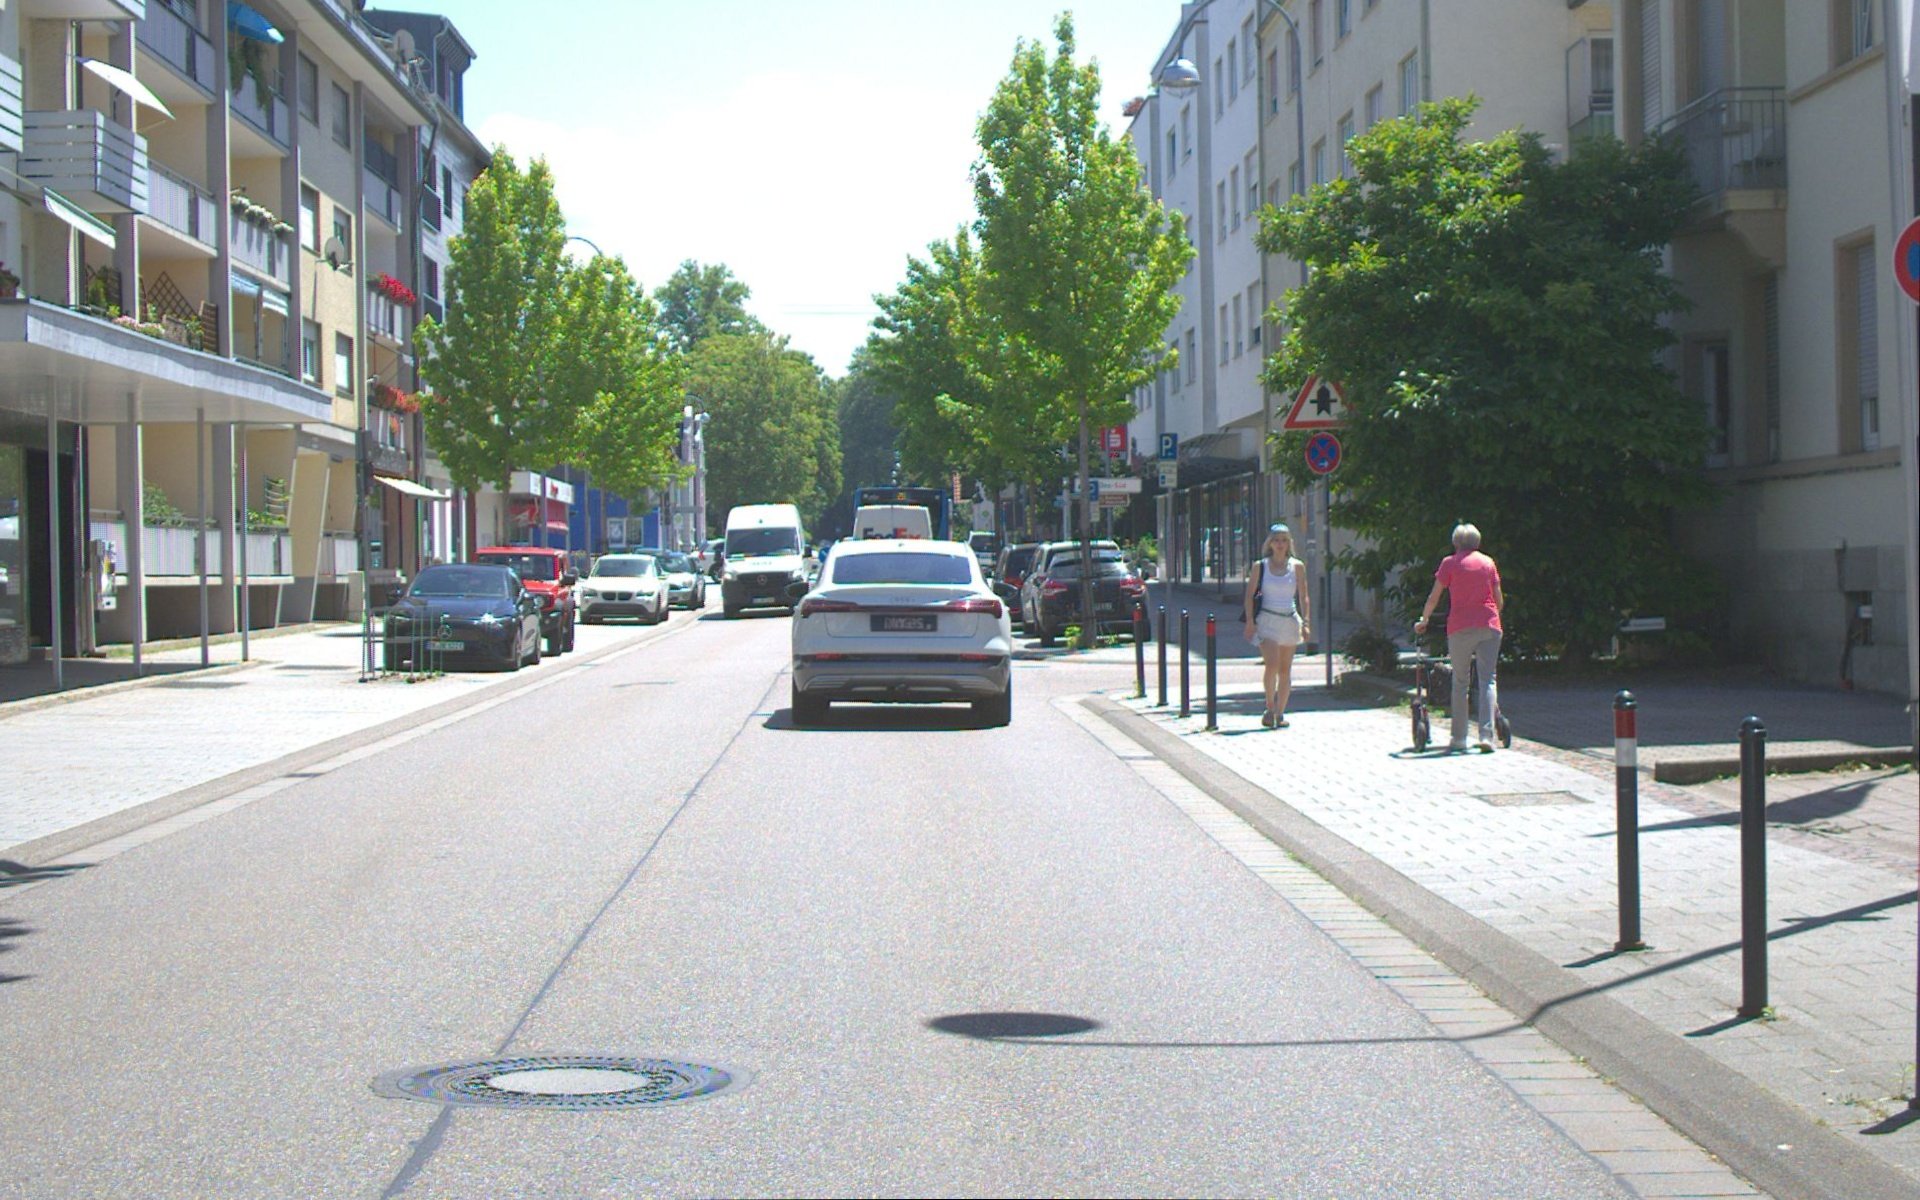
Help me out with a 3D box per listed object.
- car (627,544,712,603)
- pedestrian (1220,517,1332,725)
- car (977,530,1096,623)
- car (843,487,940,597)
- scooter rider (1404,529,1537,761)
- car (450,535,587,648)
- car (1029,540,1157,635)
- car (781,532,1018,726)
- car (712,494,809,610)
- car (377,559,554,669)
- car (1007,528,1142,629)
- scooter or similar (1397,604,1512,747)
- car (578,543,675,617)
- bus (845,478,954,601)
[{"bbox_3d":[-7.494,-0.705,88.960,1.752,1.448,4.401,1,1,1],"label":"car"},{"bbox_3d":[2.555,0.164,27.863,0.700,1.621,0.784,-4,0,-2],"label":"pedestrian"},{"bbox_3d":[1.458,-0.478,67.112,1.855,1.669,4.538,-3,1,-4],"label":"car"},{"bbox_3d":[-1.586,-1.341,80.152,2.156,2.433,5.284,1,1,-1],"label":"car"},{"bbox_3d":[3.515,0.298,23.698,0.716,1.543,0.770,-2,1,-3],"label":"scooter rider"},{"bbox_3d":[-6.998,-0.163,54.786,1.752,1.696,4.102,1,1,-2],"label":"car"},{"bbox_3d":[2.116,-0.226,55.636,1.896,1.433,4.544,-1,1,0],"label":"car"},{"bbox_3d":[-0.597,0.216,31.071,1.993,1.627,4.001,0,1,-2],"label":"car"},{"bbox_3d":[-4.813,-1.188,83.775,2.036,2.621,7.108,-3,1,-2],"label":"car"},{"bbox_3d":[-6.884,0.160,48.316,1.896,1.412,5.048,1,1,-2],"label":"car"},{"bbox_3d":[2.015,-0.414,61.775,1.896,1.669,4.691,-3,1,-4],"label":"car"},{"bbox_3d":[3.498,0.528,24.373,0.663,0.960,0.754,-2,1,-1],"label":"scooter or similar"},{"bbox_3d":[-7.551,-0.476,78.092,1.752,1.612,4.401,1,1,0],"label":"car"},{"bbox_3d":[-1.600,-1.631,94.184,2.661,3.210,7.301,1,1,1],"label":"bus"}]
